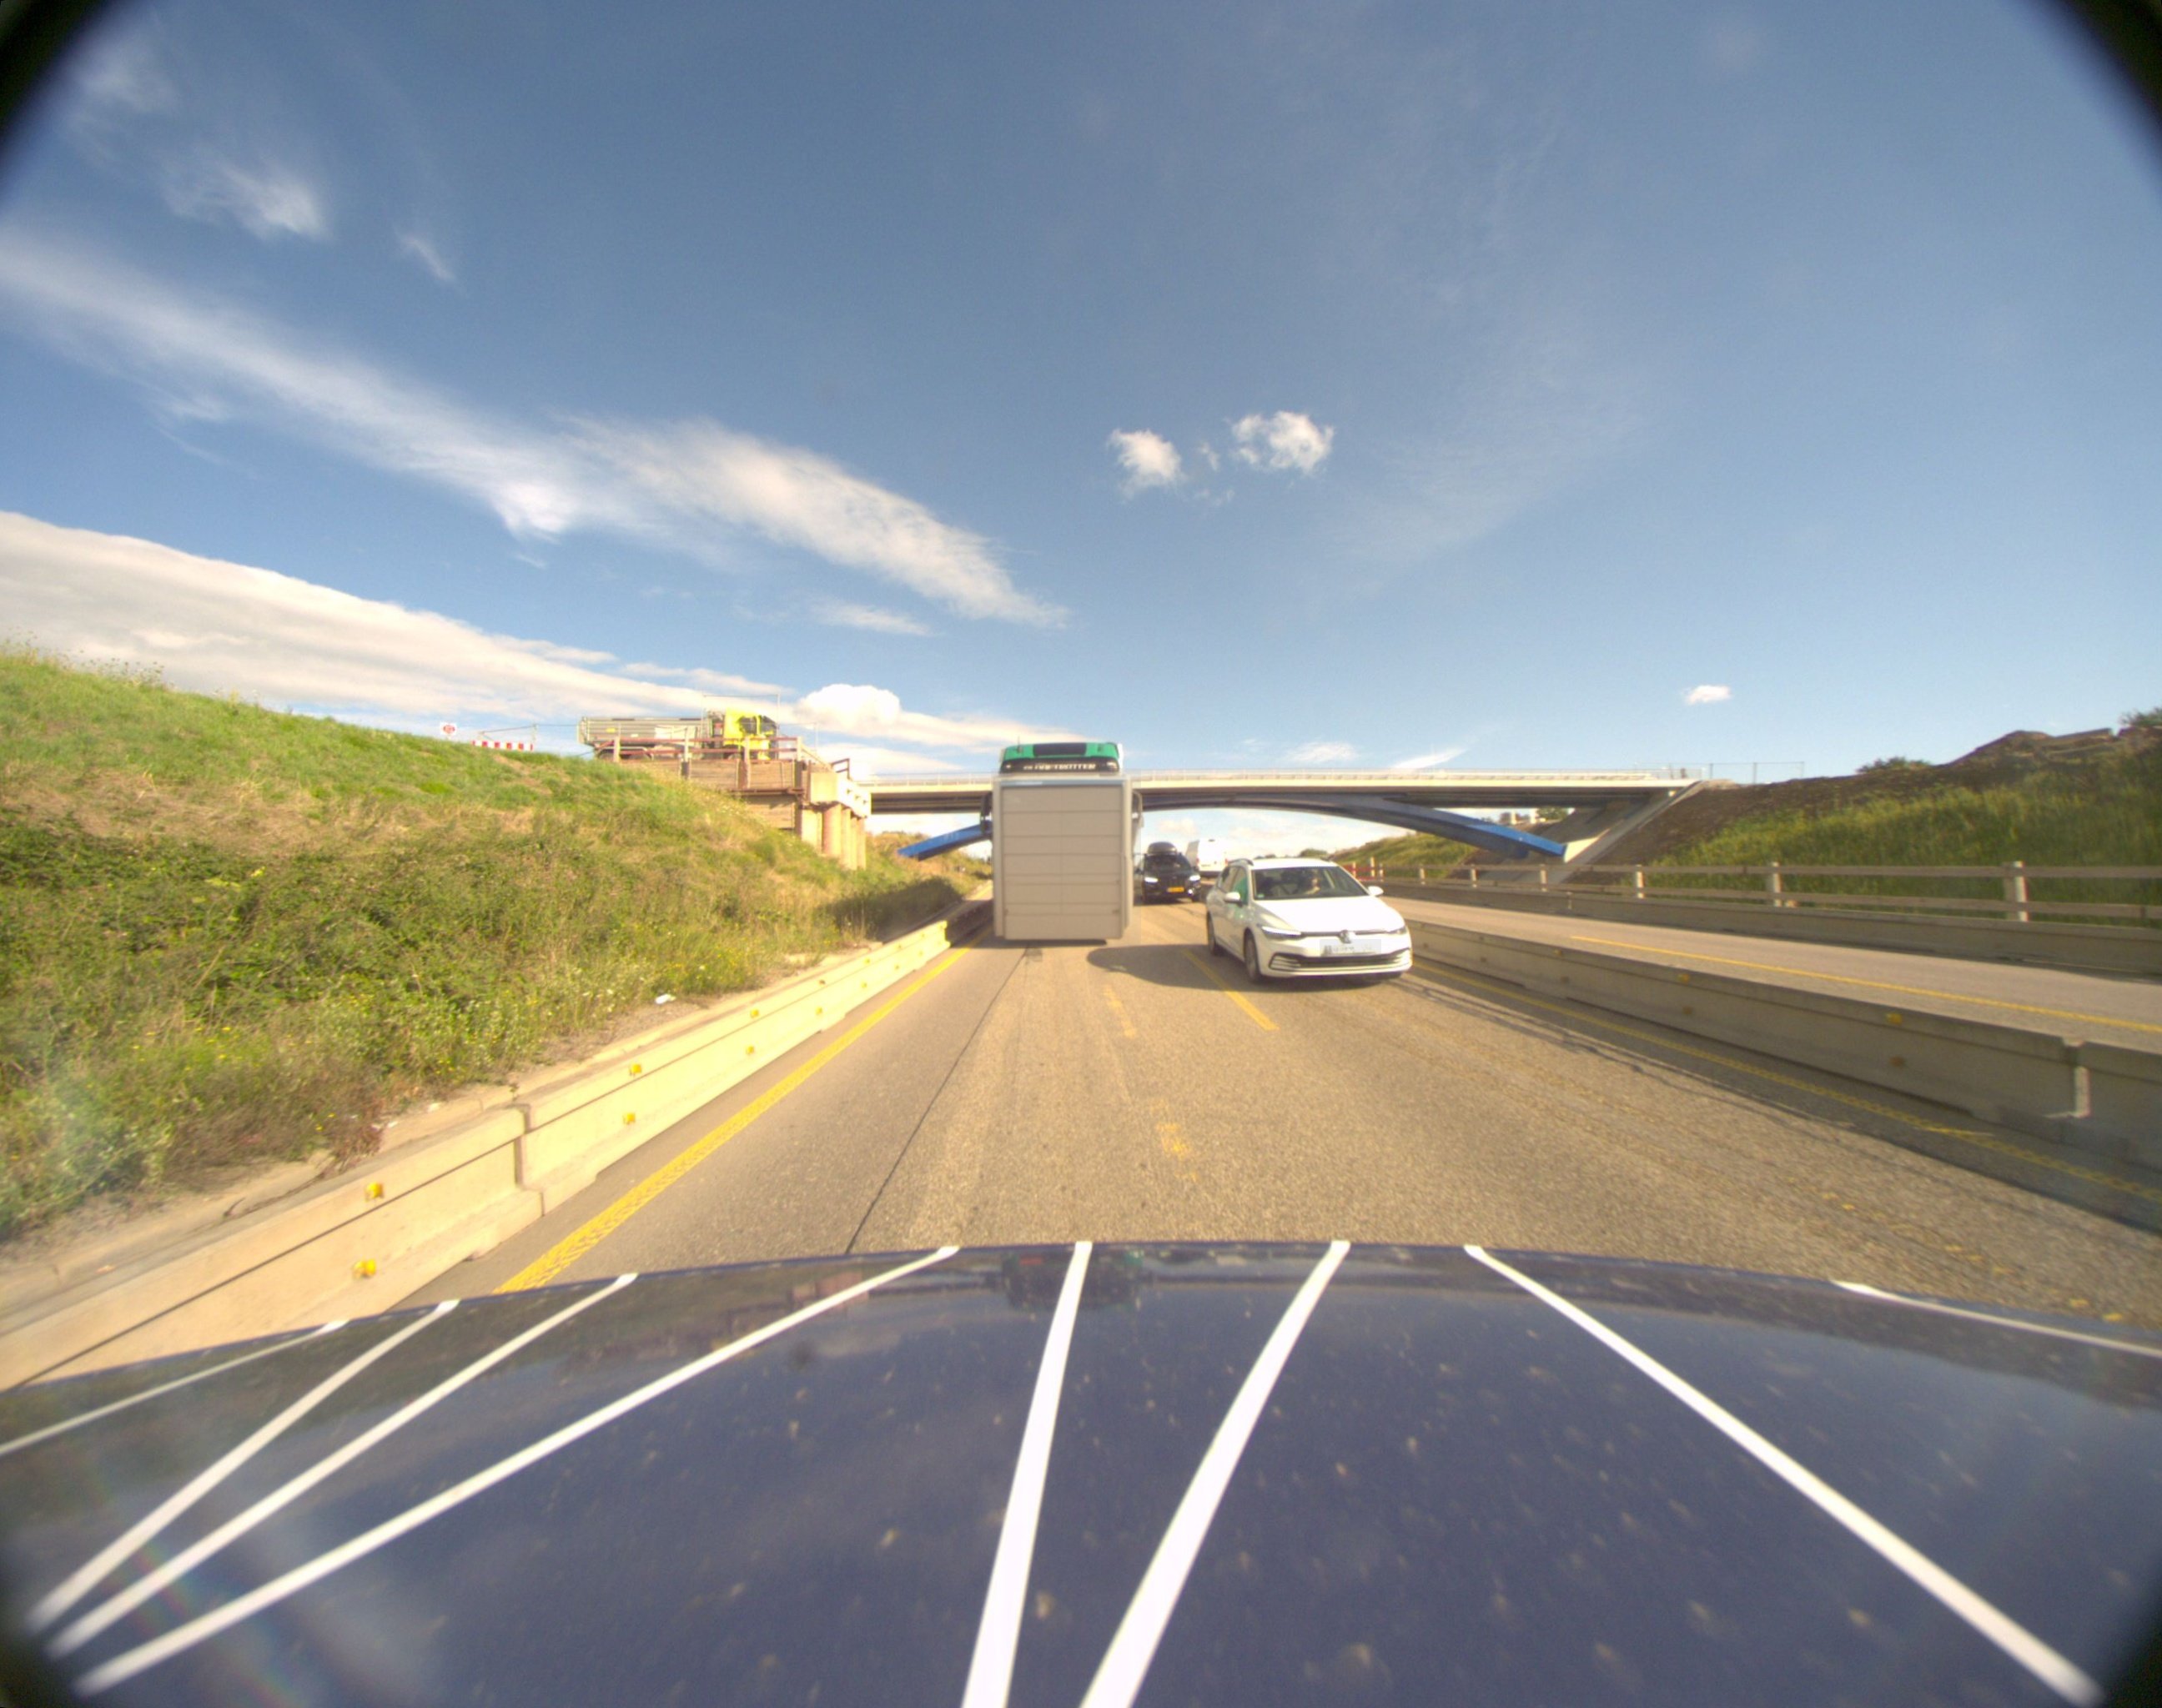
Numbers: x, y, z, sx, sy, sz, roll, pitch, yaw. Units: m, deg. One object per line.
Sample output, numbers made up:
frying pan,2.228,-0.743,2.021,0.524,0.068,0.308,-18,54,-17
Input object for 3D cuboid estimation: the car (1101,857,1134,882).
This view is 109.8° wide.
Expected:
car,2.312,0.948,49.309,1.855,1.488,4.300,-1,0,-1

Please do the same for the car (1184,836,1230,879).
car,8.665,0.225,52.949,2.115,2.819,6.138,1,0,0

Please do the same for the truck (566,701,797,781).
truck,-18.796,-5.343,36.263,9.289,3.209,2.959,-1,0,-3

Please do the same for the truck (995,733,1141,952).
truck,-0.303,-0.199,17.851,2.546,3.899,8.278,-2,0,-1

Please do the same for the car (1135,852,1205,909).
car,2.917,0.817,25.735,1.855,1.667,4.260,-3,0,1

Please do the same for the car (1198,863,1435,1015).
car,2.820,0.927,10.194,1.825,1.487,4.374,-2,0,1
